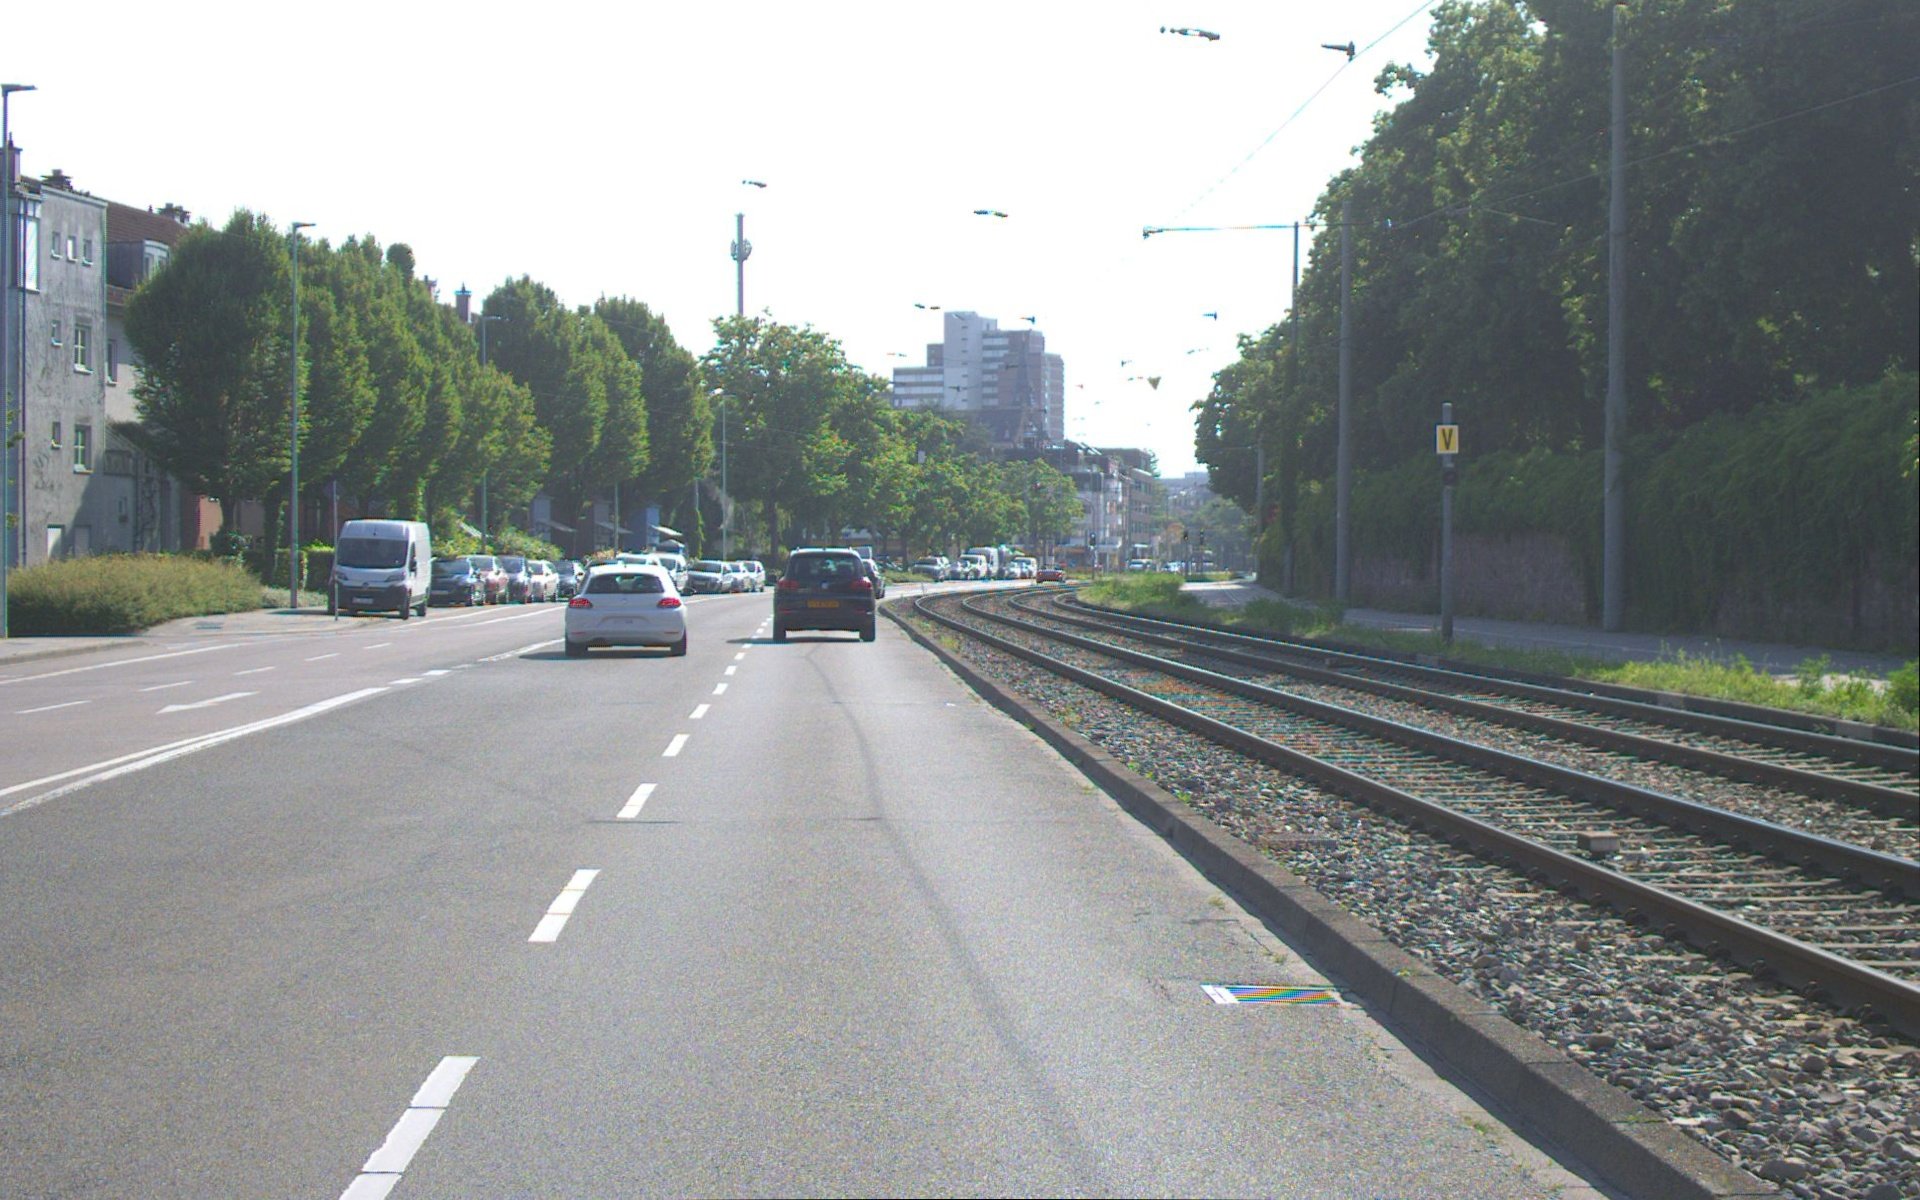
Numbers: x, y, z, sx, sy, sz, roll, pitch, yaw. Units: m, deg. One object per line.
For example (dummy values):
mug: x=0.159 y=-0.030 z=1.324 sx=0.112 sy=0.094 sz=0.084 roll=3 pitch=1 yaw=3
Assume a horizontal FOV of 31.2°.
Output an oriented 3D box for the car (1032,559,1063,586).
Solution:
car: x=5.432 y=-1.711 z=213.316 sx=1.724 sy=1.587 sz=3.601 roll=2 pitch=1 yaw=4

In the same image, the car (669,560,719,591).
car: x=-12.338 y=-1.139 z=159.671 sx=1.993 sy=1.411 sz=3.844 roll=0 pitch=1 yaw=0

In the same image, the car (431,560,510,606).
car: x=-15.604 y=-0.559 z=109.757 sx=1.993 sy=1.411 sz=3.844 roll=0 pitch=1 yaw=0

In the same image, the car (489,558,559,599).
car: x=-15.295 y=-0.762 z=120.766 sx=1.993 sy=1.411 sz=3.844 roll=0 pitch=1 yaw=0

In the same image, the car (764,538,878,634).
car: x=-2.514 y=-0.269 z=61.376 sx=1.724 sy=1.587 sz=3.602 roll=2 pitch=1 yaw=-6

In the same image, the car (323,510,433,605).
car: x=-14.926 y=-1.090 z=88.386 sx=1.993 sy=2.368 sz=4.538 roll=0 pitch=1 yaw=1

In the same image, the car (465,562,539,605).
car: x=-15.379 y=-0.582 z=115.579 sx=1.993 sy=1.411 sz=3.844 roll=0 pitch=1 yaw=0

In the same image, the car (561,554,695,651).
car: x=-5.008 y=0.014 z=52.212 sx=1.780 sy=1.351 sz=3.601 roll=2 pitch=1 yaw=-2

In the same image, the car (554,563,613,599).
car: x=-15.126 y=-0.783 z=138.250 sx=1.993 sy=1.411 sz=3.844 roll=0 pitch=1 yaw=0

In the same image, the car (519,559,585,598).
car: x=-15.038 y=-0.814 z=127.007 sx=1.993 sy=1.411 sz=3.844 roll=0 pitch=1 yaw=0

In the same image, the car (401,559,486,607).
car: x=-15.584 y=-0.537 z=103.826 sx=1.993 sy=1.411 sz=3.844 roll=0 pitch=1 yaw=0
